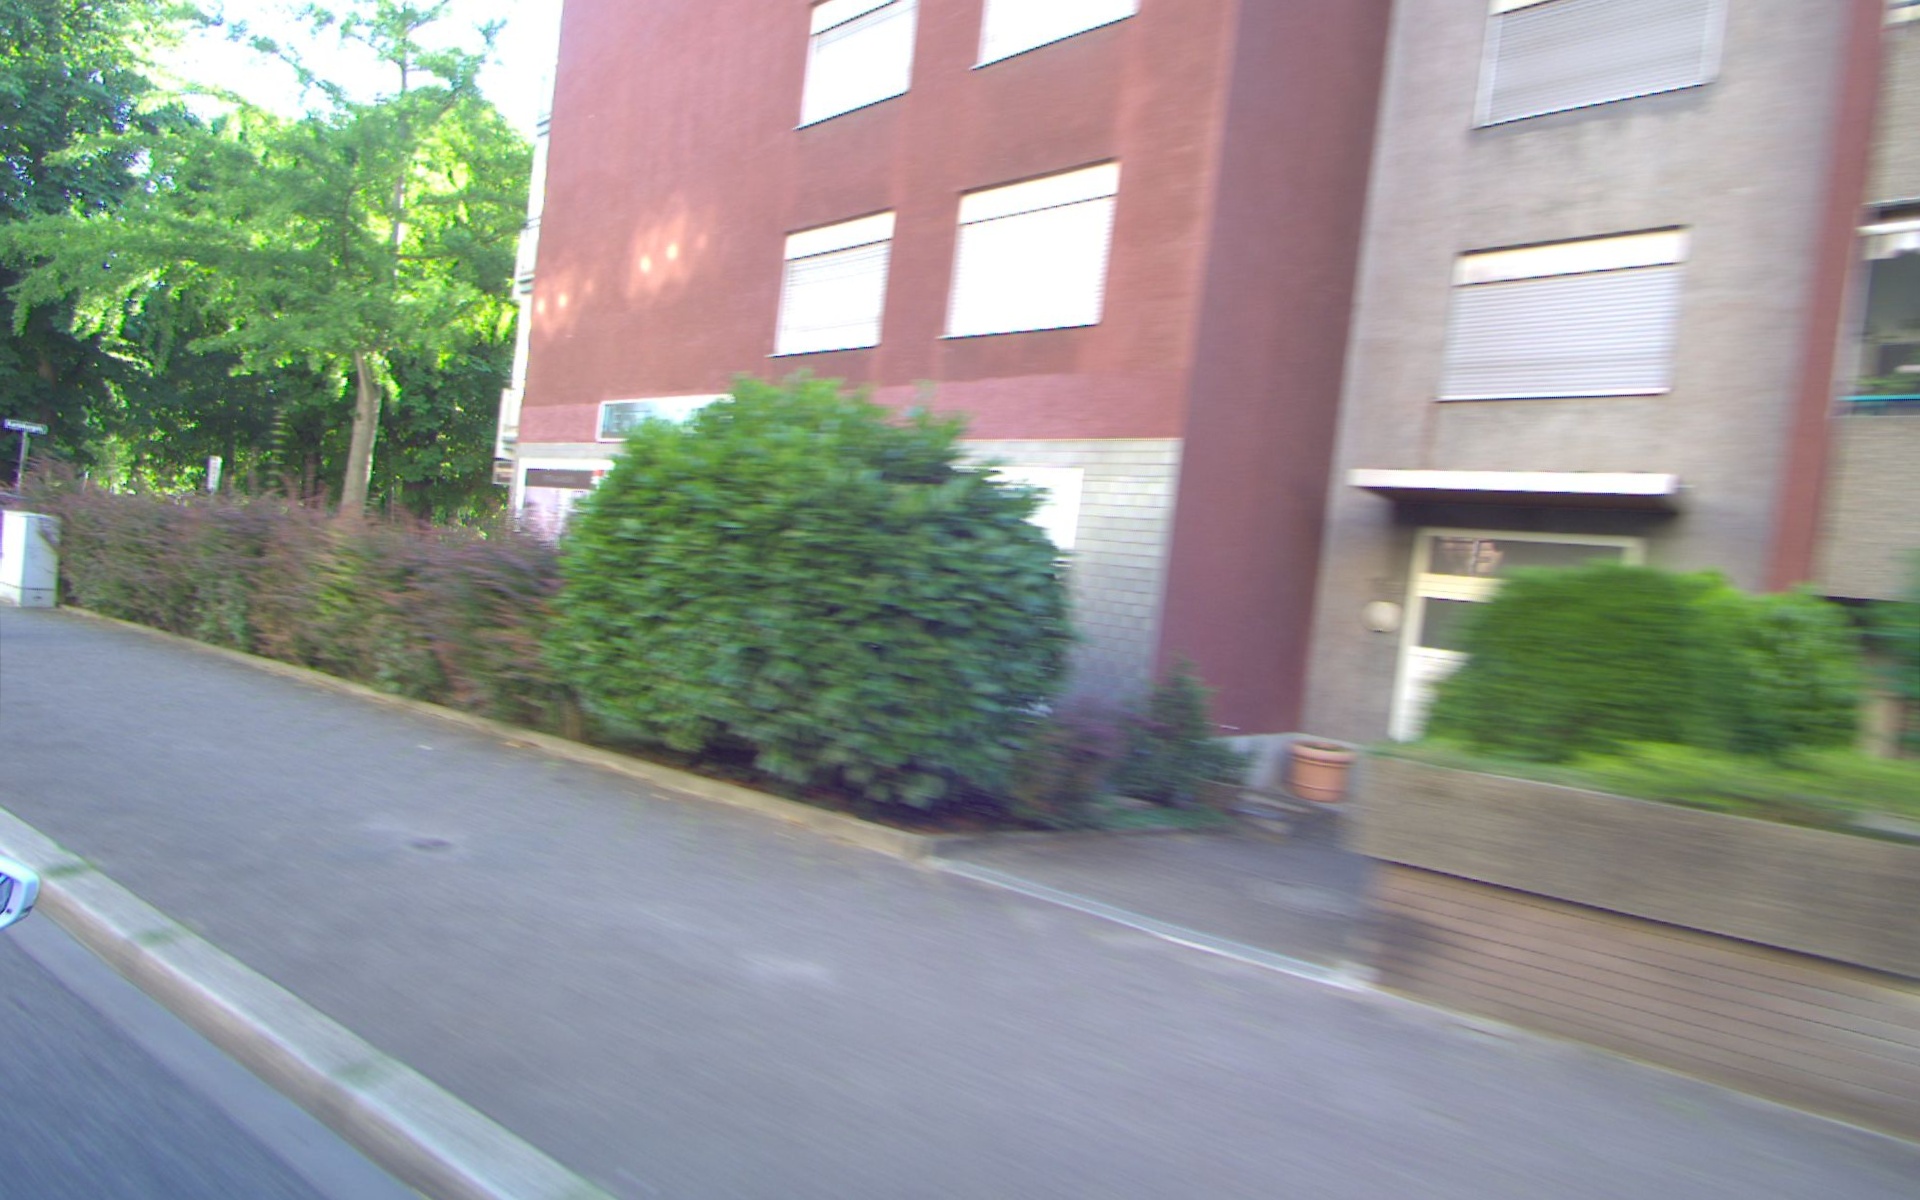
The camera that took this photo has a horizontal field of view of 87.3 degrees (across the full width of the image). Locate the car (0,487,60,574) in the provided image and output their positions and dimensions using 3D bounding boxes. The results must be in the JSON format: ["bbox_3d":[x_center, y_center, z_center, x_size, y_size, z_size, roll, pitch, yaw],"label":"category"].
[{"bbox_3d":[-21.561,-1.710,20.536,1.971,1.673,4.433,8,0,40],"label":"car"}]
